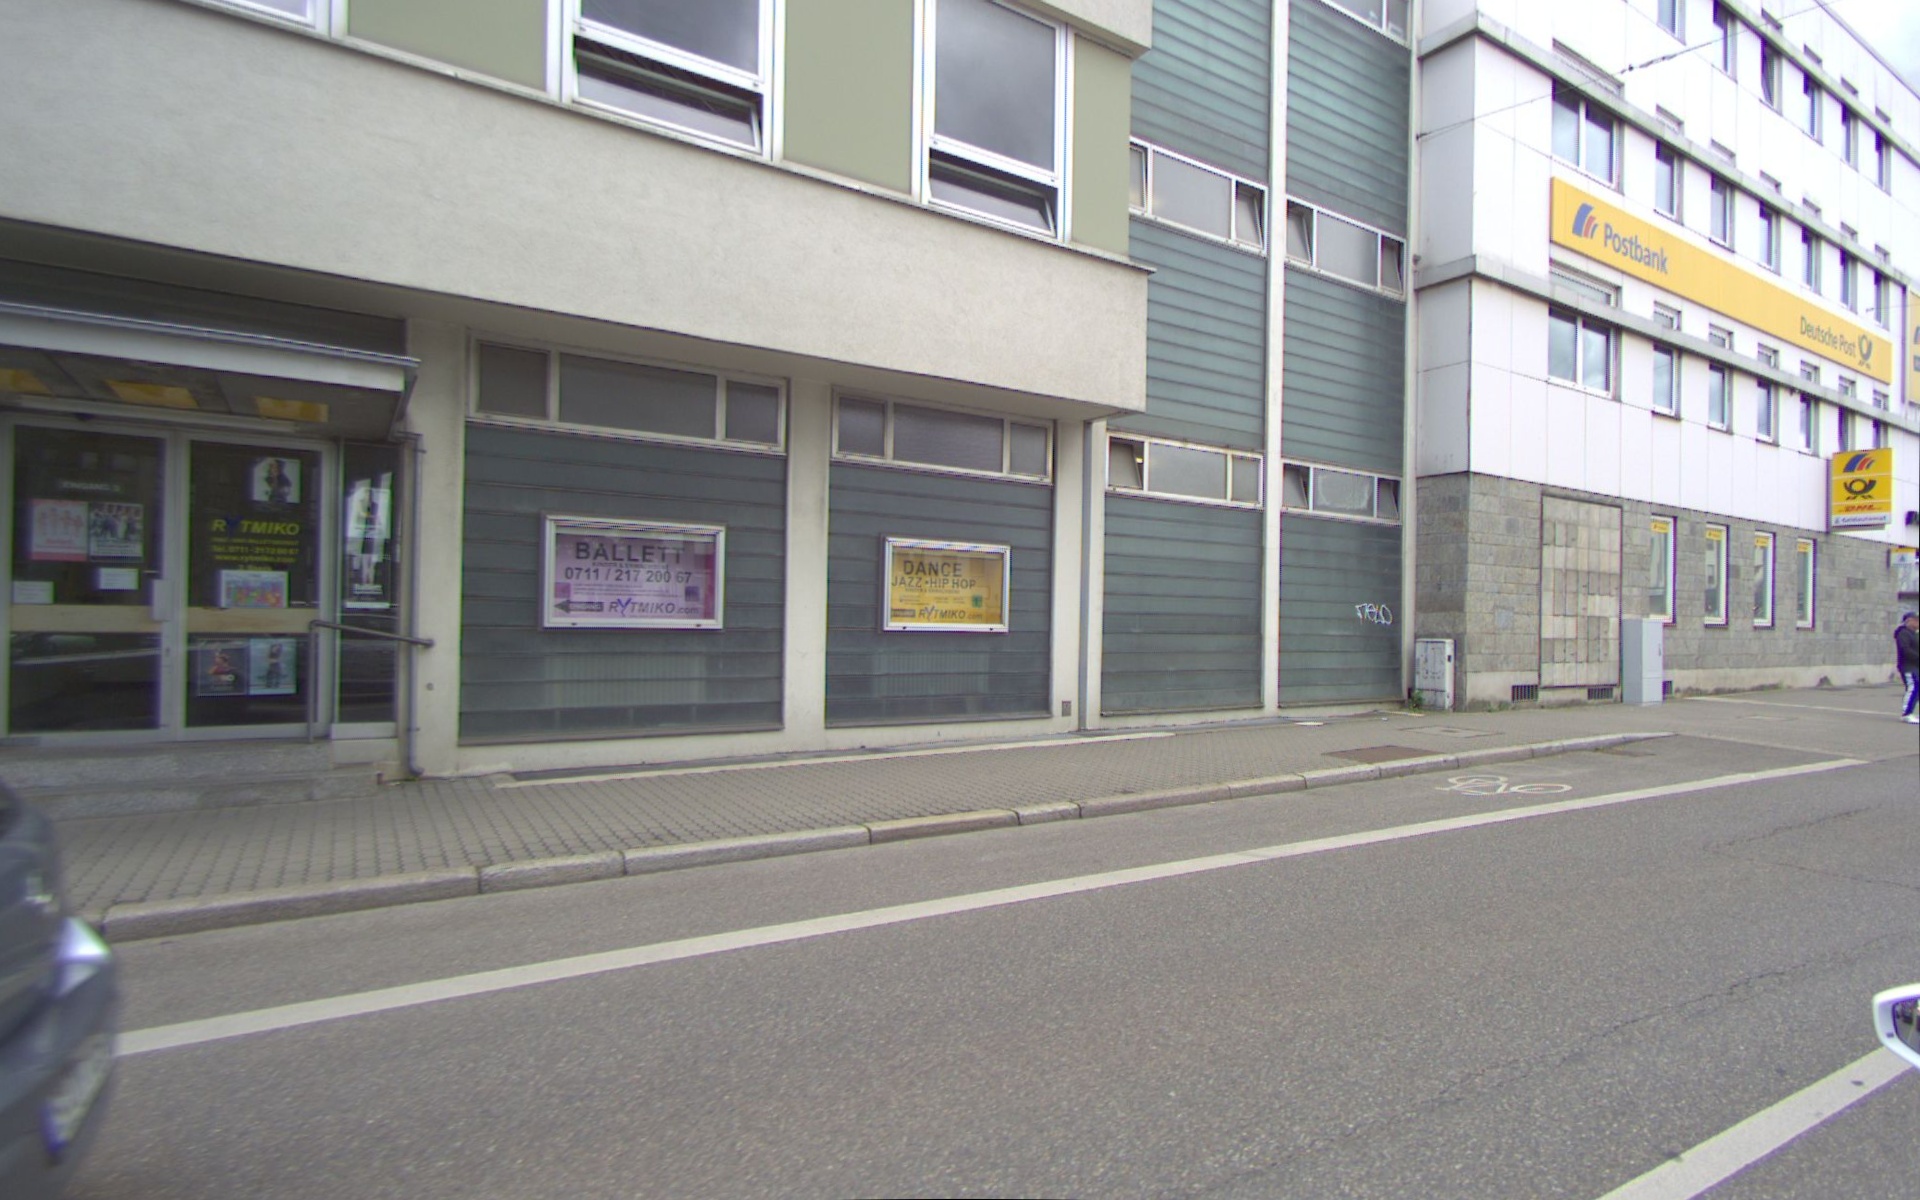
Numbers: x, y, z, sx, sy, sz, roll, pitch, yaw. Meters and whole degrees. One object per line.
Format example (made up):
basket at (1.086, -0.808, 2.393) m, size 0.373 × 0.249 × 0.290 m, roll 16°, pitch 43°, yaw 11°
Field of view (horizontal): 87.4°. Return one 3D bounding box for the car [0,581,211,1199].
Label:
car at (-3.318, 0.703, 1.064) m, size 3.877 × 1.485 × 1.648 m, roll 1°, pitch -2°, yaw -32°

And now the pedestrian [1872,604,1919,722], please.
pedestrian at (14.501, 0.937, 15.291) m, size 0.772 × 1.741 × 0.646 m, roll 1°, pitch 1°, yaw -25°
